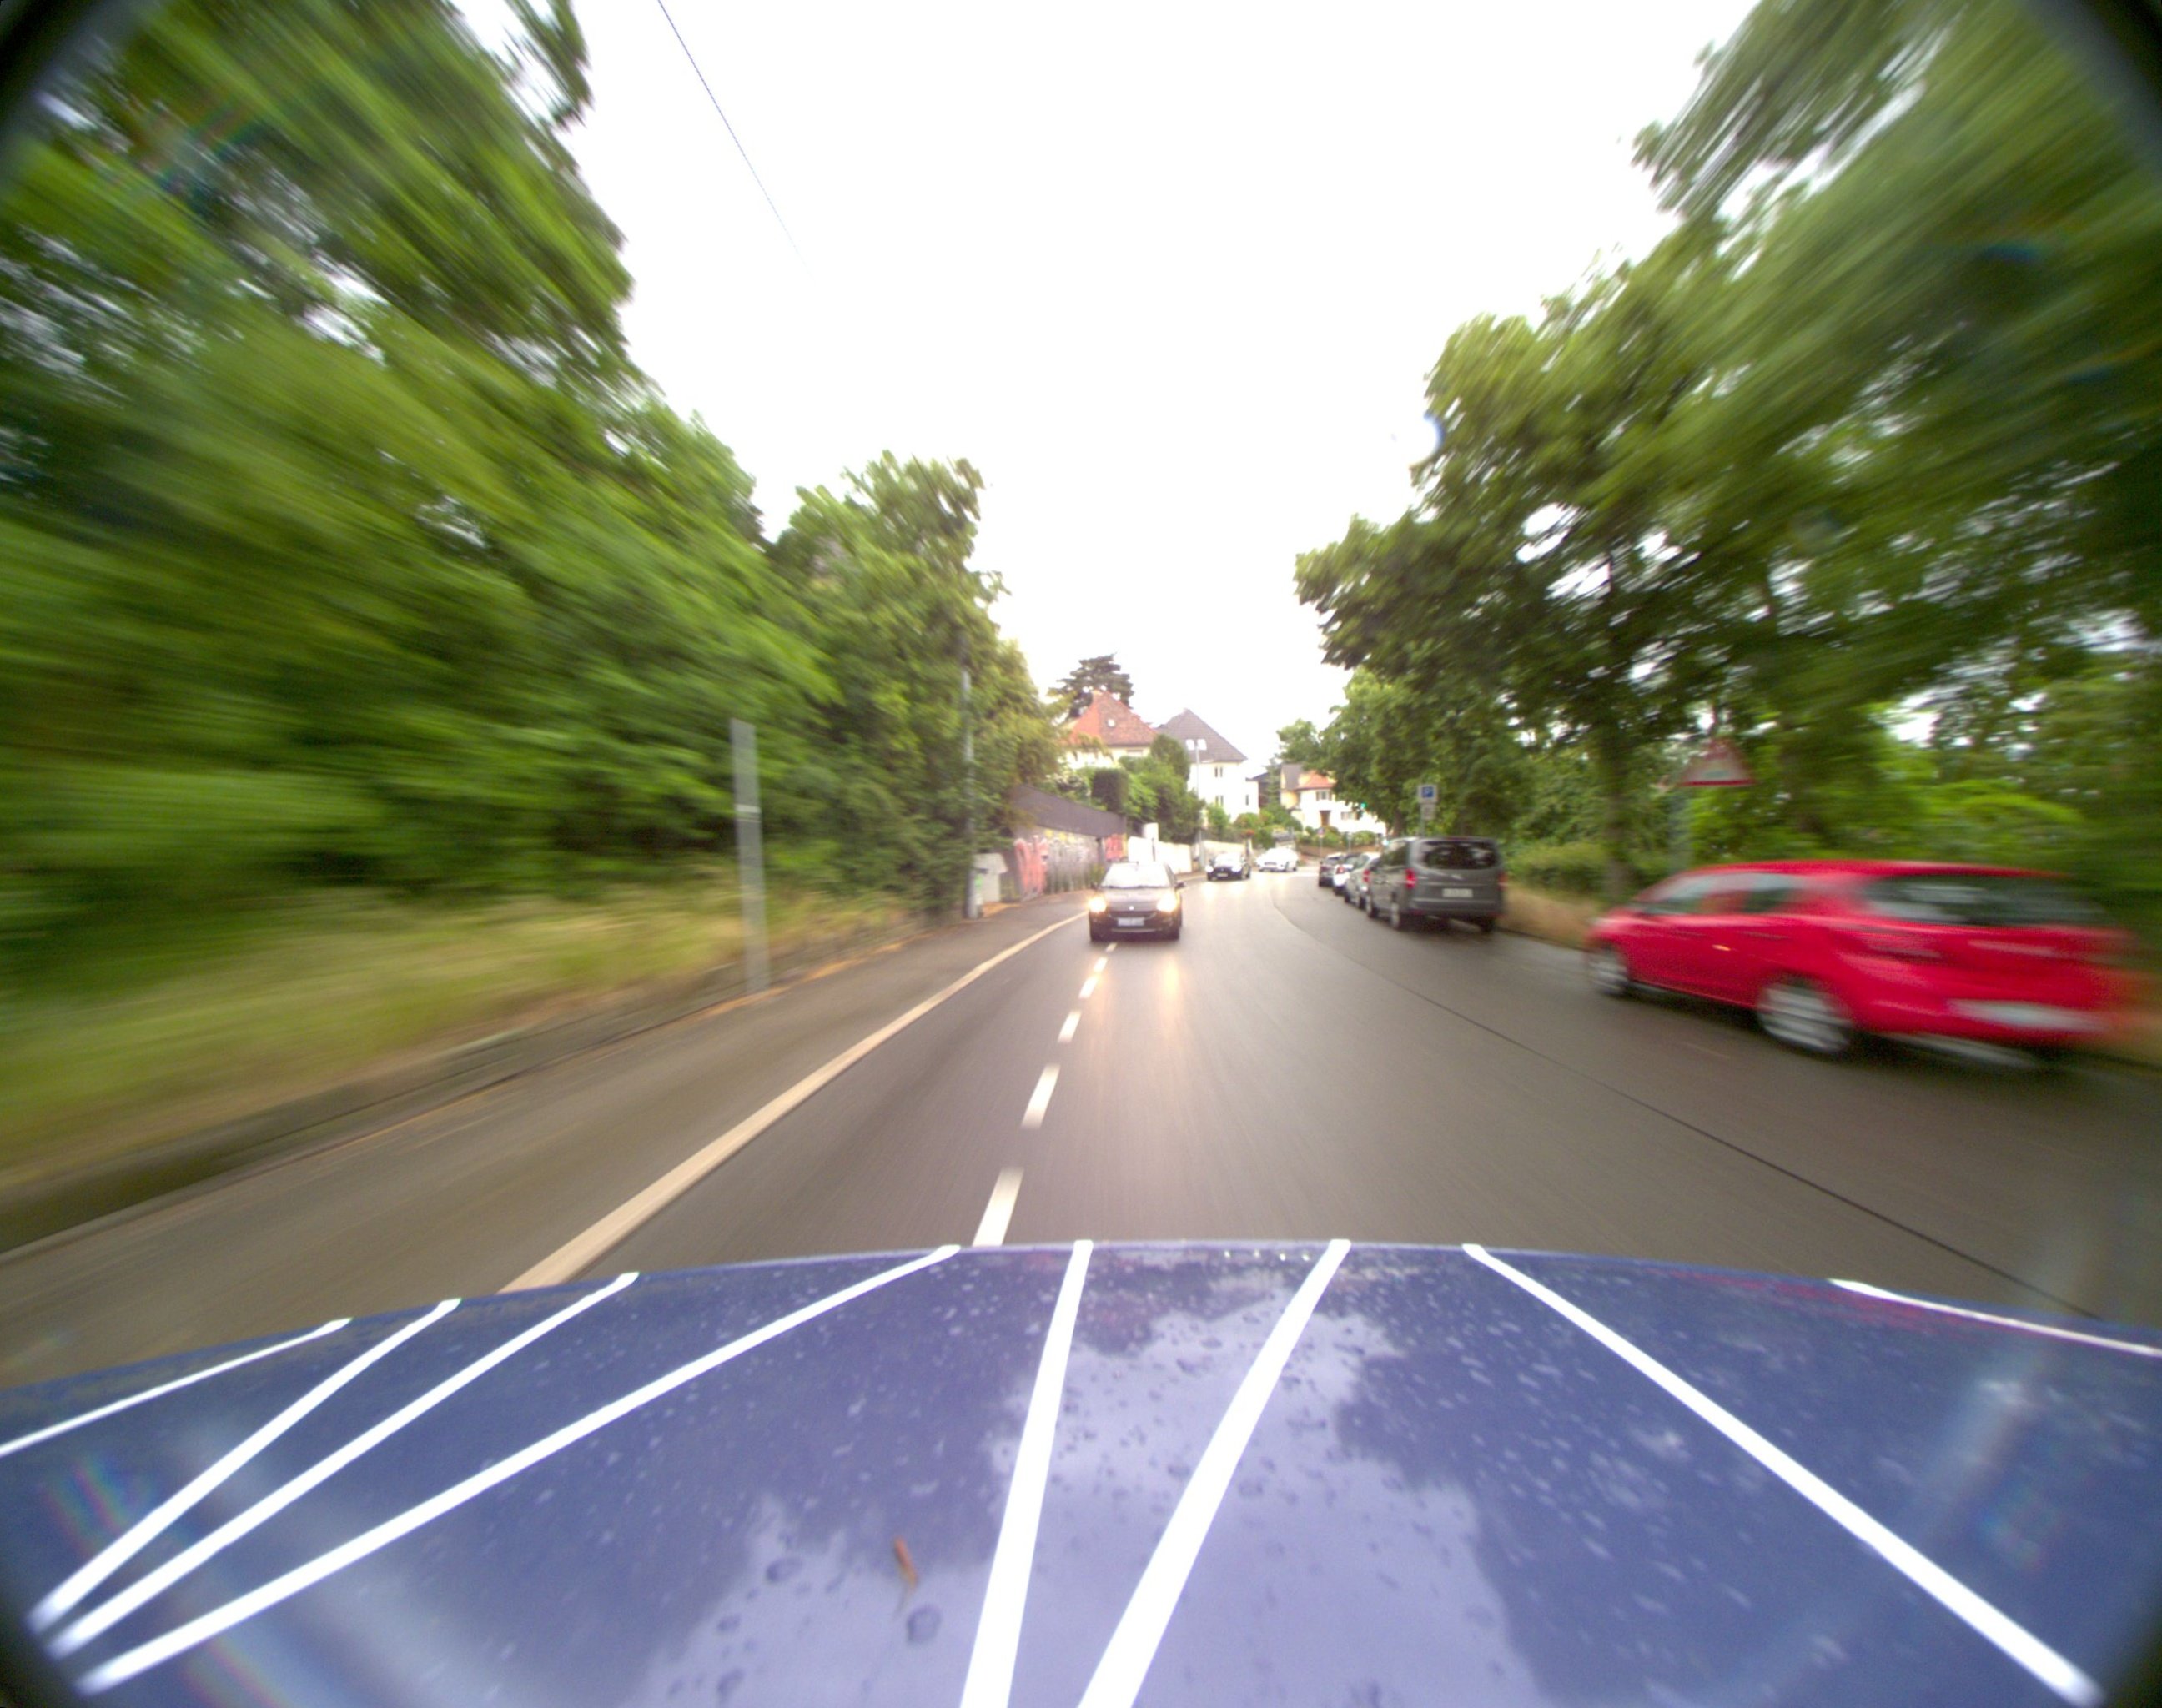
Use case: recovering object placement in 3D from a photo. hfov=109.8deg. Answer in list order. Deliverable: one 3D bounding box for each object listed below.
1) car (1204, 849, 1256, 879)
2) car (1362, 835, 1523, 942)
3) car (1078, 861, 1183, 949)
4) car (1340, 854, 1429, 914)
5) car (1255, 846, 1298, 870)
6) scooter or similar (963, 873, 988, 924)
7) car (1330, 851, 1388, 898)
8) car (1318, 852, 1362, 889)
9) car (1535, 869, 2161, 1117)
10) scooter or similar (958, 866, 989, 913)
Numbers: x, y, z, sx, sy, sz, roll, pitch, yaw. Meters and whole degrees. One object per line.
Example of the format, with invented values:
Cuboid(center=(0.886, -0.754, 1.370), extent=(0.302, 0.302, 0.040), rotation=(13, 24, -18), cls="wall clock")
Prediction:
Cuboid(center=(8.036, 0.493, 40.677), extent=(2.027, 1.454, 4.006), rotation=(-1, 0, 21), cls="car")
Cuboid(center=(7.585, 0.641, 16.521), extent=(1.957, 1.956, 5.006), rotation=(0, 0, 11), cls="car")
Cuboid(center=(1.127, 0.927, 15.499), extent=(1.803, 1.418, 4.385), rotation=(-1, 1, 7), cls="car")
Cuboid(center=(8.747, 0.801, 22.189), extent=(1.686, 1.543, 3.770), rotation=(3, 1, 11), cls="car")
Cuboid(center=(13.929, 0.254, 53.857), extent=(2.027, 1.619, 4.235), rotation=(-1, 0, 27), cls="car")
Cuboid(center=(-2.525, 1.053, 18.292), extent=(0.347, 1.111, 1.422), rotation=(2, 1, 1), cls="scooter or similar")
Cuboid(center=(10.309, 0.691, 28.404), extent=(1.685, 1.501, 4.210), rotation=(2, 2, 16), cls="car")
Cuboid(center=(11.471, 0.682, 33.780), extent=(1.685, 1.372, 4.506), rotation=(2, 2, 18), cls="car")
Cuboid(center=(6.402, 0.929, 7.139), extent=(1.958, 1.452, 4.578), rotation=(1, 0, 7), cls="car")
Cuboid(center=(-2.900, 0.938, 20.372), extent=(0.348, 1.111, 1.419), rotation=(4, 1, -25), cls="scooter or similar")
